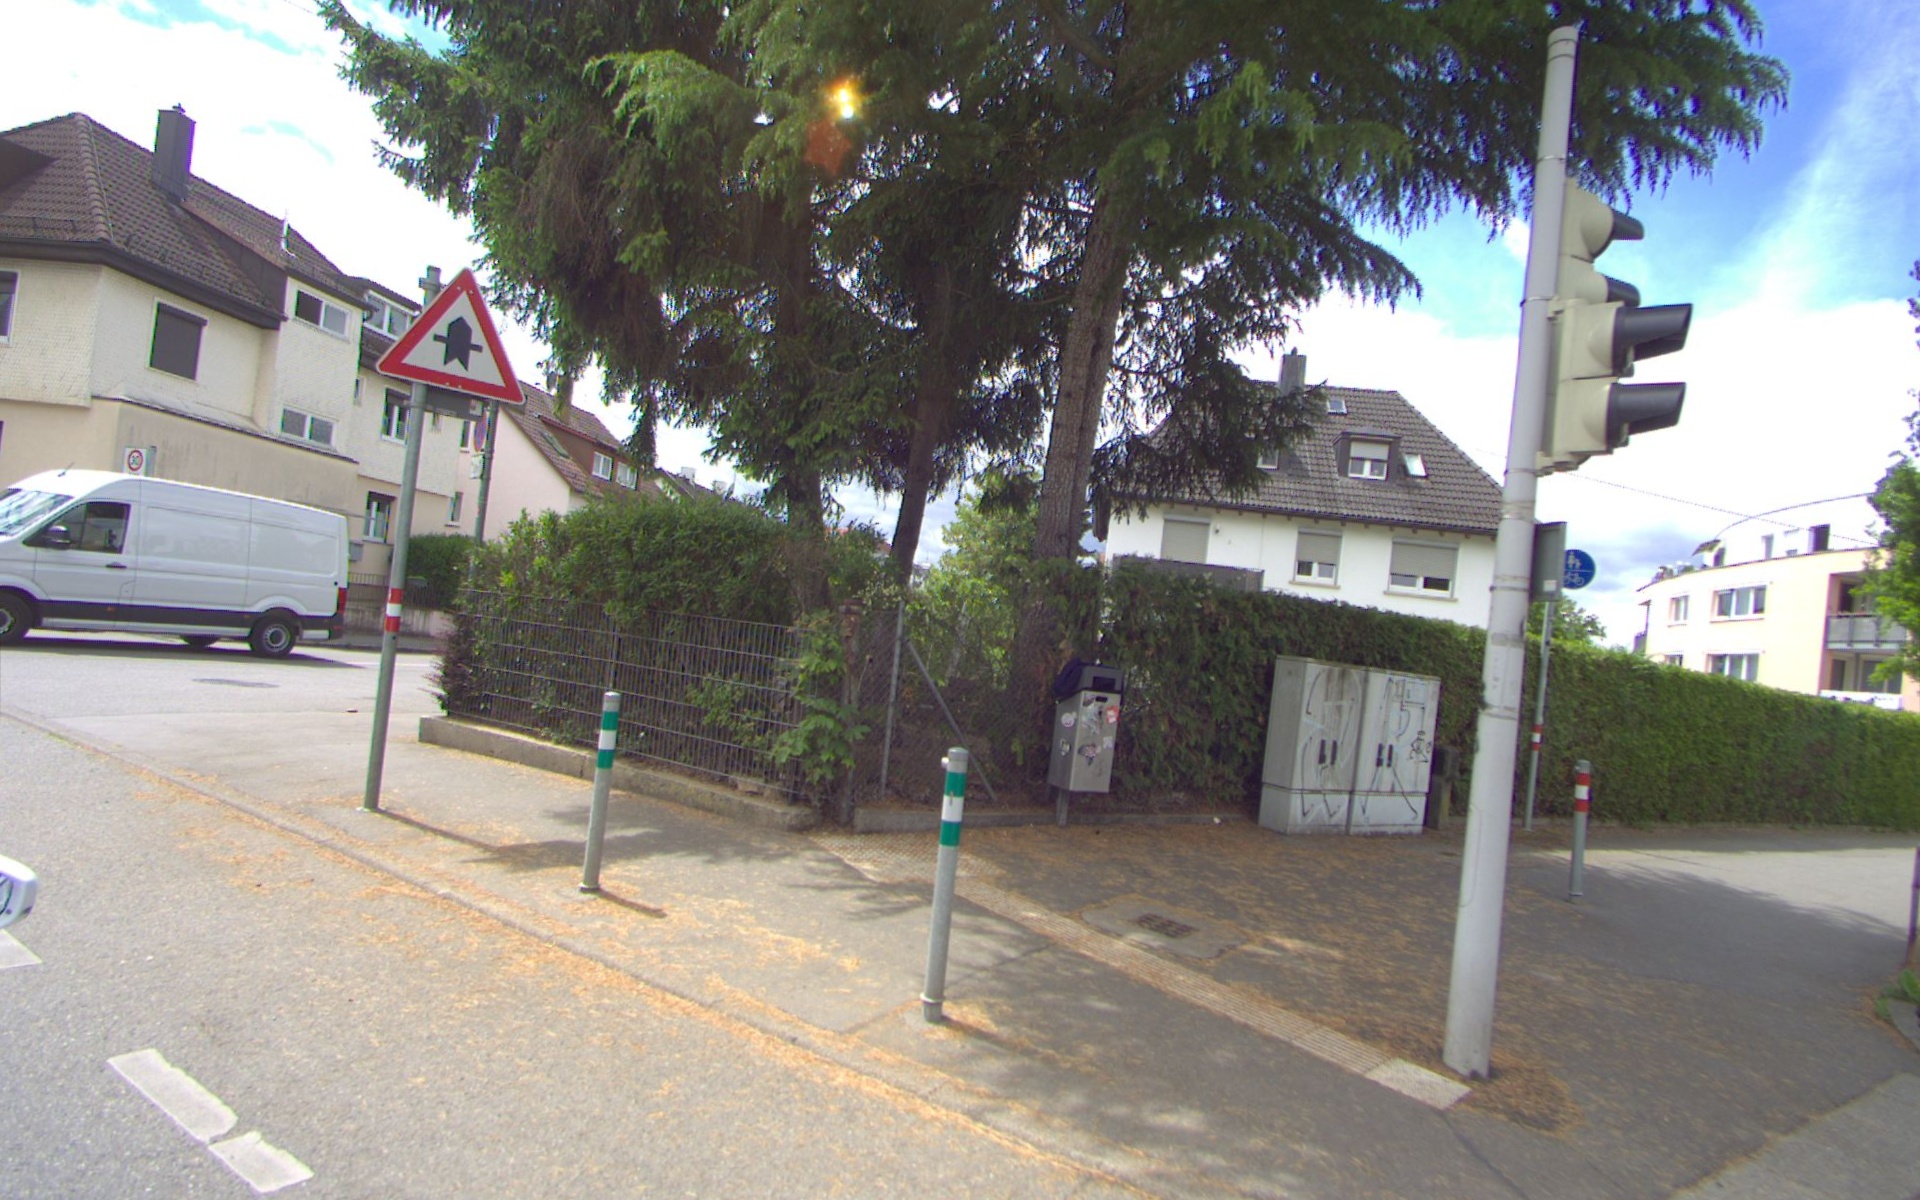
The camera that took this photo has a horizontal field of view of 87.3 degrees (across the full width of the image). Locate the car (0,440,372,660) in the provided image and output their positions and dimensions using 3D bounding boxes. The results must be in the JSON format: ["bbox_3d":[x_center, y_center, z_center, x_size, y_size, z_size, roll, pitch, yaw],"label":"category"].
[{"bbox_3d":[-12.467,-0.608,15.277,1.963,2.610,6.022,6,-3,20],"label":"car"}]
